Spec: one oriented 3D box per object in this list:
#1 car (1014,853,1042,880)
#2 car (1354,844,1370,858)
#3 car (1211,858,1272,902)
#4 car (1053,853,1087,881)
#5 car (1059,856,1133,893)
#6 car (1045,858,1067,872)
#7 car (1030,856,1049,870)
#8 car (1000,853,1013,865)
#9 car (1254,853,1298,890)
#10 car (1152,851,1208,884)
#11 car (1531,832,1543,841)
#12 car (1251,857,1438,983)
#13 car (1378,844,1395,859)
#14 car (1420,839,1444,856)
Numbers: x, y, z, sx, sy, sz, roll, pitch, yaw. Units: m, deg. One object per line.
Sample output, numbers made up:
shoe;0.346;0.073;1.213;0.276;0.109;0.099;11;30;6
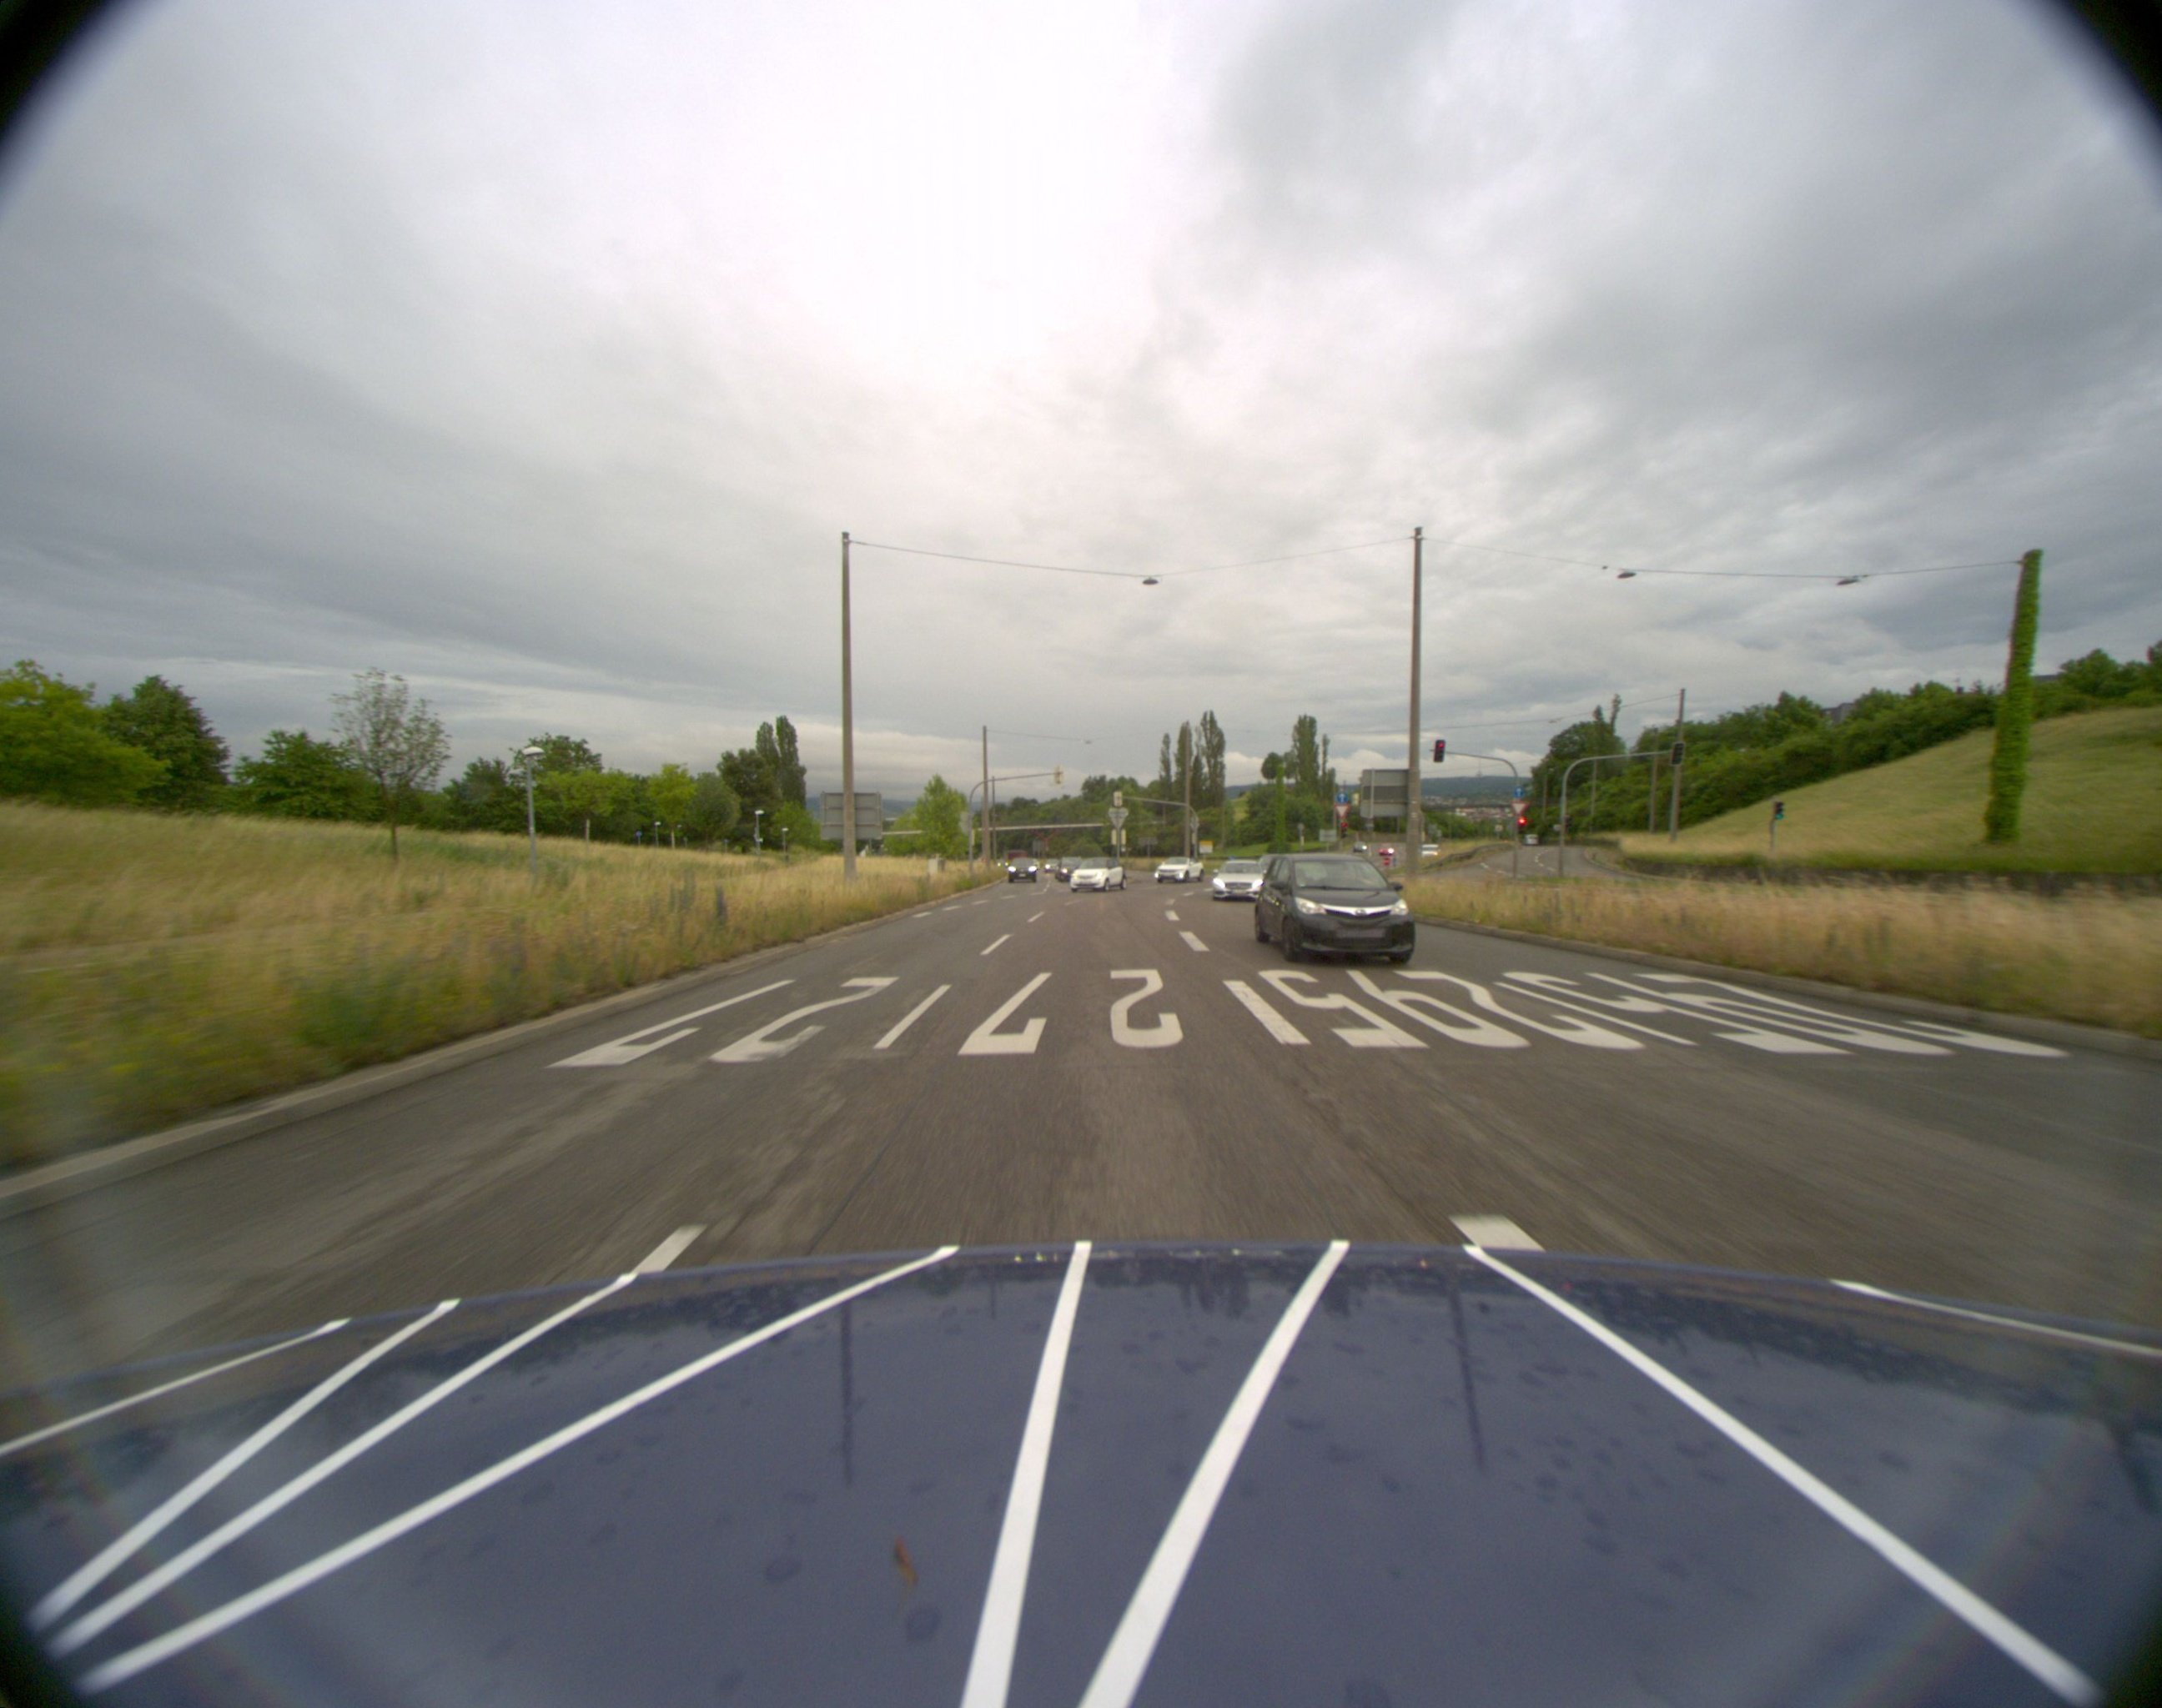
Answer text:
car;-3.566;0.813;51.702;1.720;1.633;3.886;-3;1;-3
car;41.499;-0.495;112.077;1.995;2.002;4.006;0;0;22
car;5.902;0.890;27.734;1.996;1.400;4.529;-1;0;13
car;-0.774;0.792;50.367;1.999;1.633;4.626;-3;1;-3
car;0.763;0.883;34.661;1.722;1.513;4.234;1;1;26
car;-2.771;1.193;83.471;1.872;1.477;3.996;-1;0;-10
car;-5.850;1.259;106.563;1.839;1.936;3.995;-2;1;-13
car;-13.648;0.867;138.313;2.000;2.002;3.996;-1;0;-10
car;9.857;0.837;38.203;1.925;1.725;4.030;-1;0;17
car;5.937;0.798;45.198;1.839;1.532;3.822;-1;5;31
car;75.352;-2.858;125.583;1.557;1.424;3.235;-2;1;32
car;3.838;0.857;11.822;1.799;1.556;4.045;2;0;5
car;40.438;-0.339;100.605;1.995;2.002;4.006;-1;0;21
car;37.452;-0.712;81.082;1.995;1.682;4.295;-1;0;21
